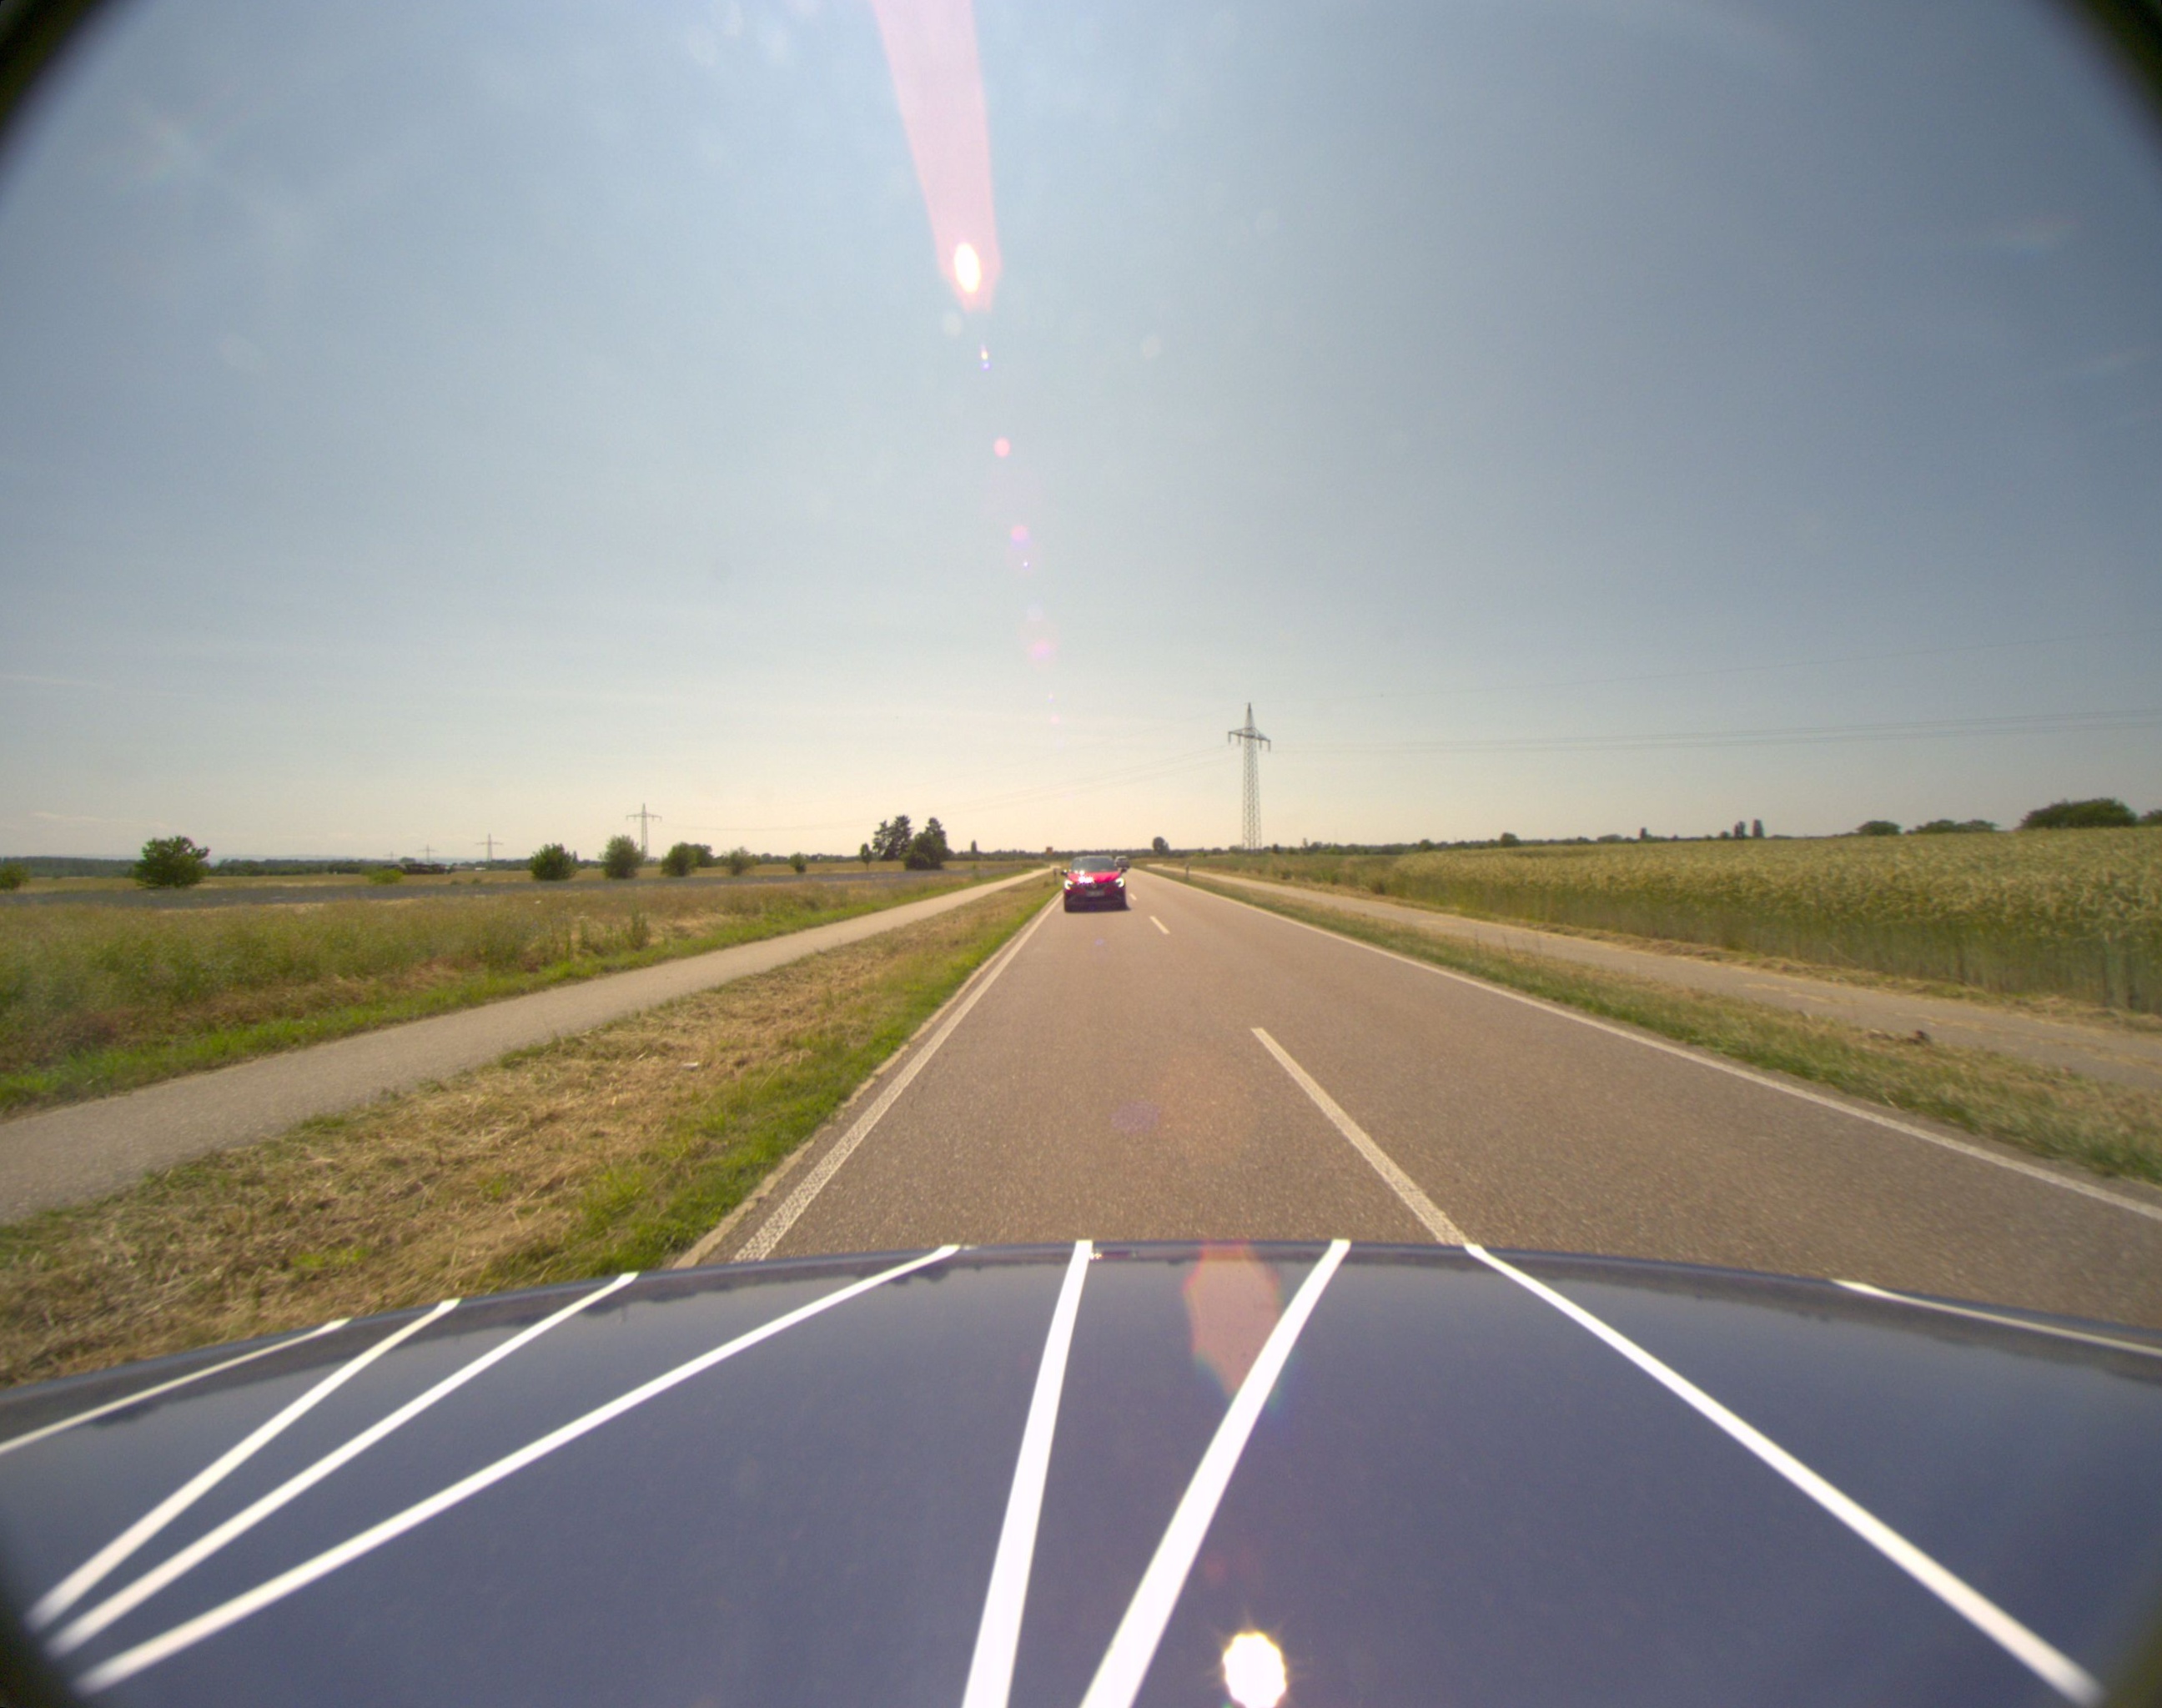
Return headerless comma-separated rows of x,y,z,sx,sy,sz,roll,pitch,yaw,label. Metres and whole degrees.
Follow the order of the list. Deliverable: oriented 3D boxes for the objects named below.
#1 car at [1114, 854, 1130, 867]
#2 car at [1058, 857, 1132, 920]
4.751,0.730,88.290,1.752,1.392,4.032,-2,1,1,car
0.393,0.895,21.776,1.826,1.543,4.449,-3,0,1,car
